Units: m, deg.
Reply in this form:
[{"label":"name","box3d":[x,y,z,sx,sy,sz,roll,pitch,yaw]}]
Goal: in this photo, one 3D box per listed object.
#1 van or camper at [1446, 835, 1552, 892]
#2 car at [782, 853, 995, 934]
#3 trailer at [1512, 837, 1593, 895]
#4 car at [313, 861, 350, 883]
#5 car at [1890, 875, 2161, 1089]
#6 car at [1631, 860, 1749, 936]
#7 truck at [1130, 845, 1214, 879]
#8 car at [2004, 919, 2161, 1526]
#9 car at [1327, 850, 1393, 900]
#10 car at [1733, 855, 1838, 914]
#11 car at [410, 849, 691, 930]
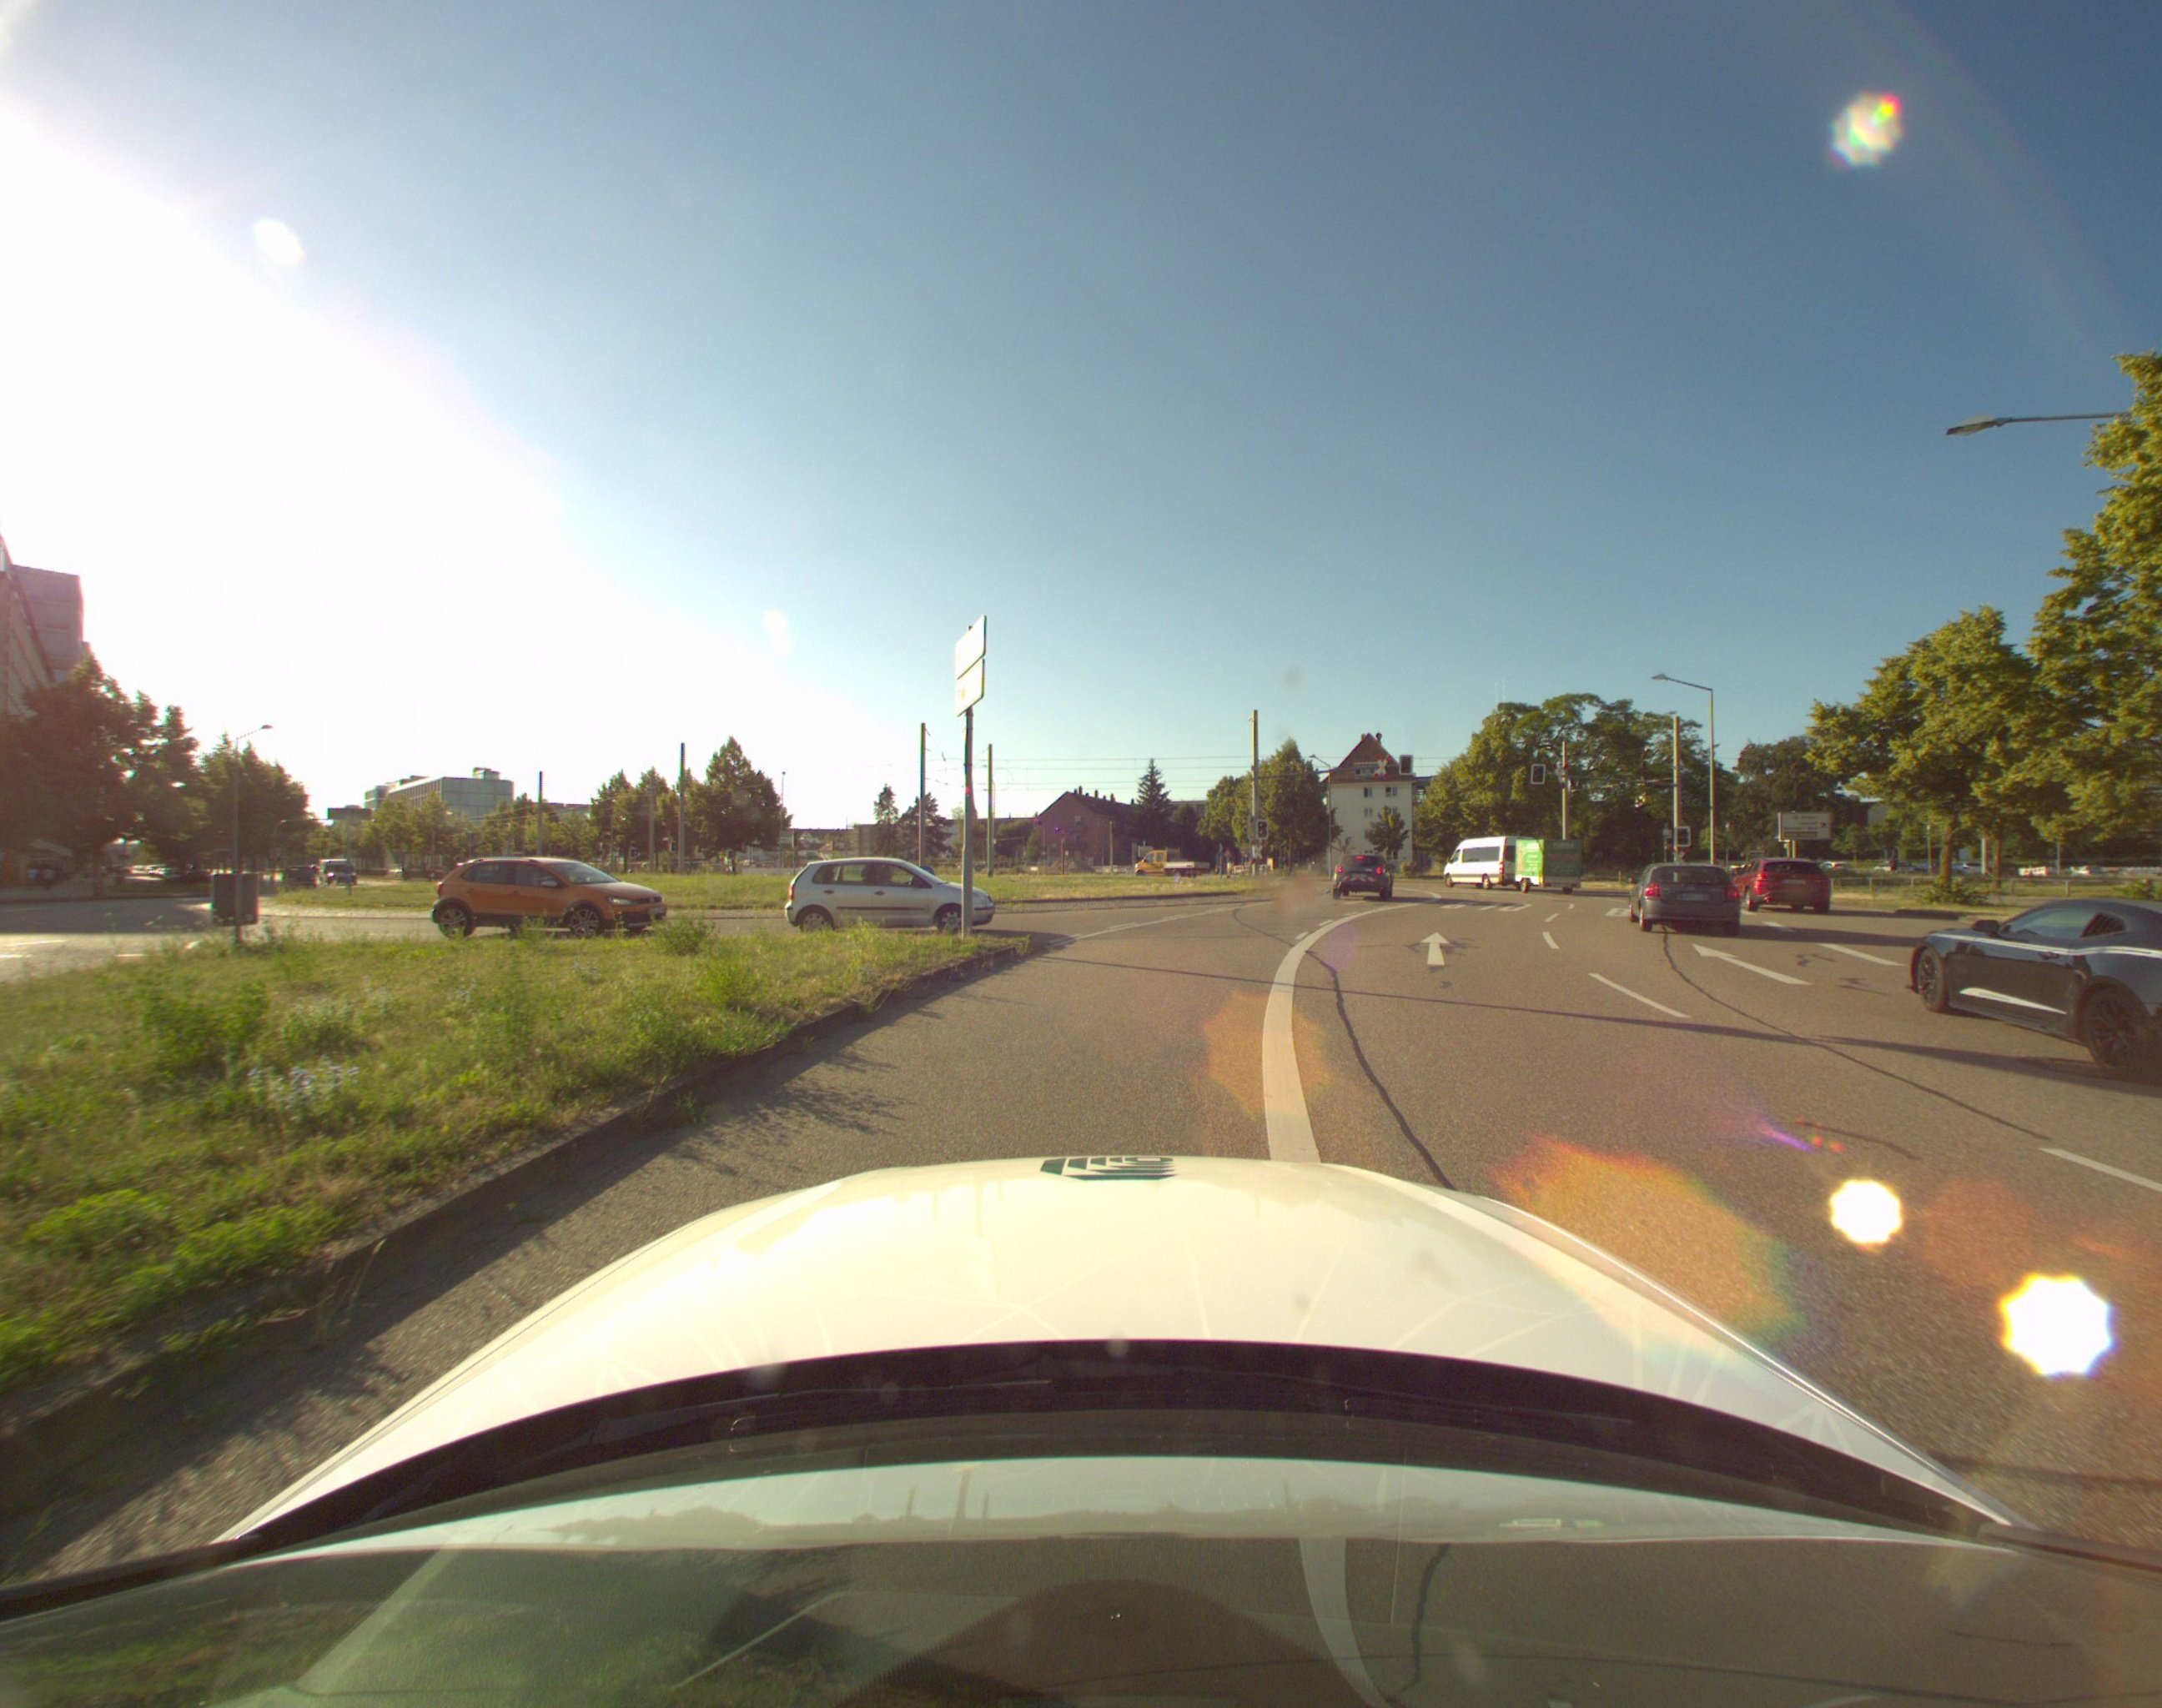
[{"label":"van or camper","box3d":[21.367,0.500,42.069,2.276,2.629,6.585,1,-1,2]},{"label":"car","box3d":[-3.566,0.718,15.664,3.741,1.434,1.832,0,-1,-6]},{"label":"trailer","box3d":[20.832,0.533,36.107,2.076,2.401,3.511,1,-1,11]},{"label":"car","box3d":[-72.141,1.732,78.394,3.948,2.014,2.012,-1,-1,38]},{"label":"car","box3d":[9.035,0.926,6.829,1.837,1.338,4.652,0,0,27]},{"label":"car","box3d":[13.202,0.873,17.865,1.730,1.473,3.843,-1,-1,32]},{"label":"truck","box3d":[7.087,0.664,63.811,6.172,2.558,2.604,-1,-1,43]},{"label":"car","box3d":[3.913,0.988,0.658,1.600,1.610,3.990,0,-1,-7]},{"label":"car","box3d":[9.984,0.728,28.950,1.888,1.660,4.022,-1,-1,23]},{"label":"car","box3d":[20.957,0.844,24.376,1.730,1.621,3.843,0,-1,31]},{"label":"car","box3d":[-9.966,0.654,15.529,4.109,1.445,1.910,0,-1,2]}]
